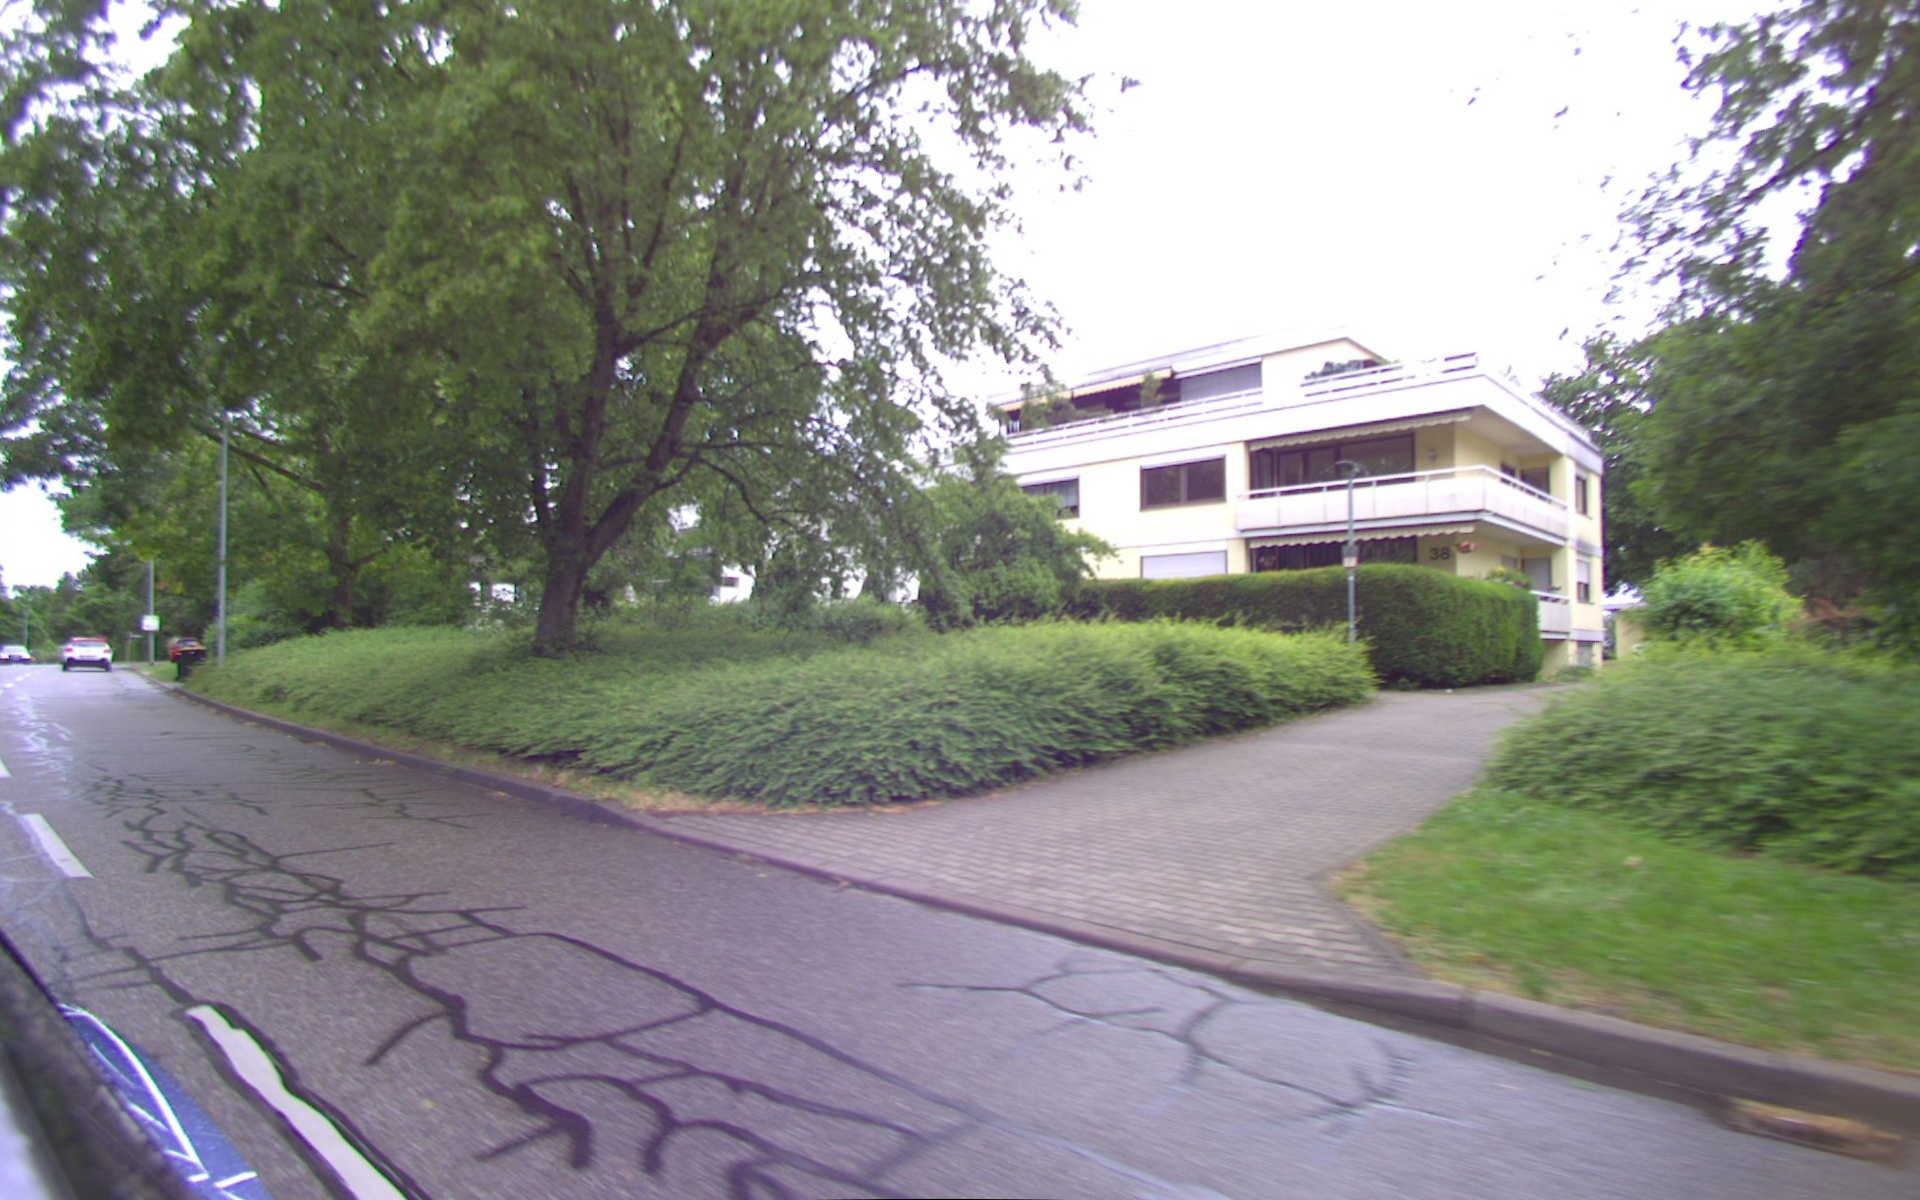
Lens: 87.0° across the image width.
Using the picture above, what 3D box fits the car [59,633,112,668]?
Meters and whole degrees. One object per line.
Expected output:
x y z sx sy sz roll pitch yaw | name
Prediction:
-39.416 2.281 45.618 1.645 1.488 3.737 5 -5 -41 | car

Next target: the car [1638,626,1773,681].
29.237 2.135 39.745 3.999 2.029 1.972 -4 -4 42 | car

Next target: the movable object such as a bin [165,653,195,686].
-24.608 2.189 31.927 0.640 0.986 0.579 8 -7 -40 | movable object such as a bin

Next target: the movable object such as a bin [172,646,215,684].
-23.866 2.030 31.501 1.024 1.113 0.968 -1 -3 -39 | movable object such as a bin
